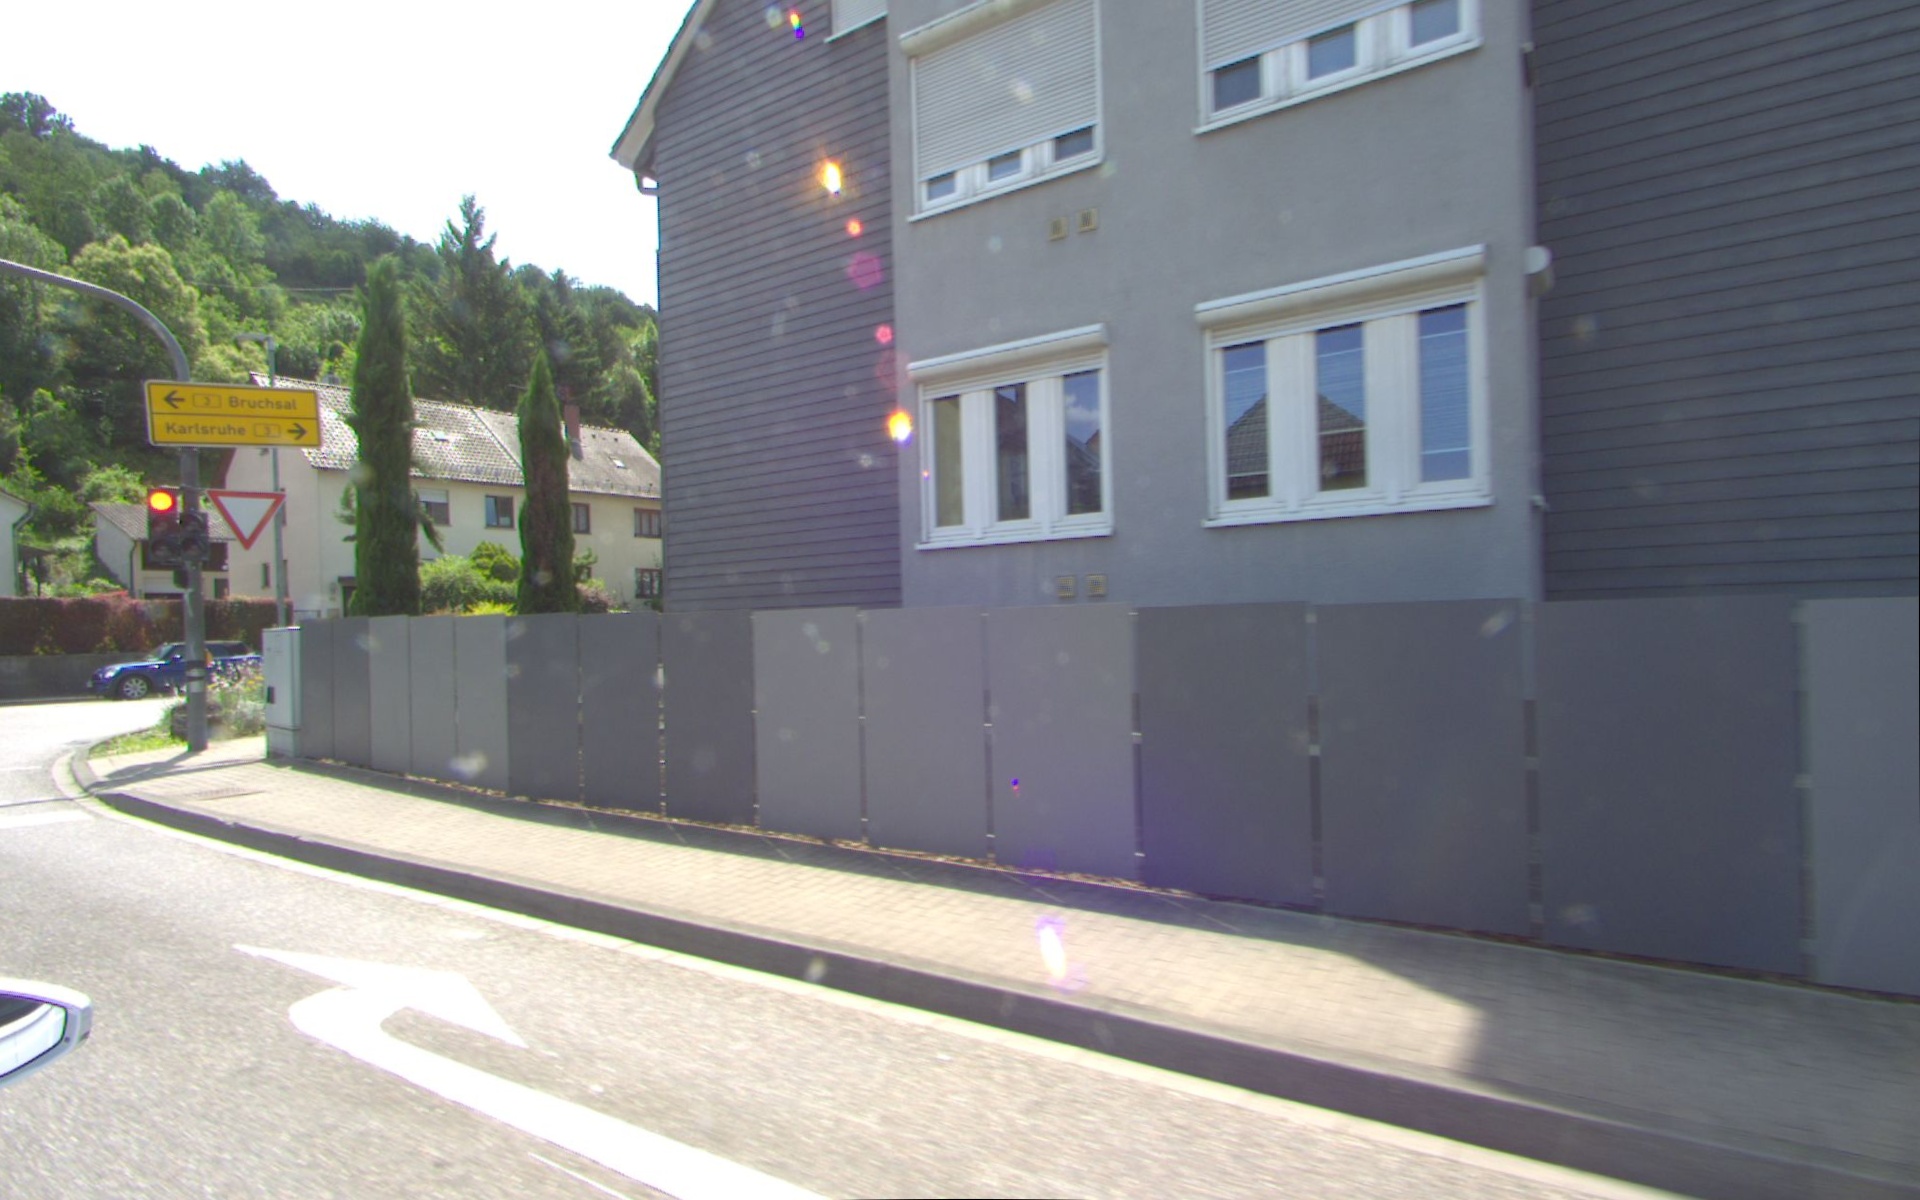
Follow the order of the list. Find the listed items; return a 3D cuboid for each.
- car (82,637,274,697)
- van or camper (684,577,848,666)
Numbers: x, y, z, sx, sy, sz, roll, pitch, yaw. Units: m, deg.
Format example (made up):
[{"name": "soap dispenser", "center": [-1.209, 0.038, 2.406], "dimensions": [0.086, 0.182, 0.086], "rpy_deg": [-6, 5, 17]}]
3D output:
[{"name": "car", "center": [-19.937, 1.691, 25.644], "dimensions": [1.624, 1.379, 3.598], "rpy_deg": [-5, -4, 36]}, {"name": "van or camper", "center": [-7.088, 0.815, 37.232], "dimensions": [2.192, 3.043, 5.967], "rpy_deg": [-1, -1, 39]}]
